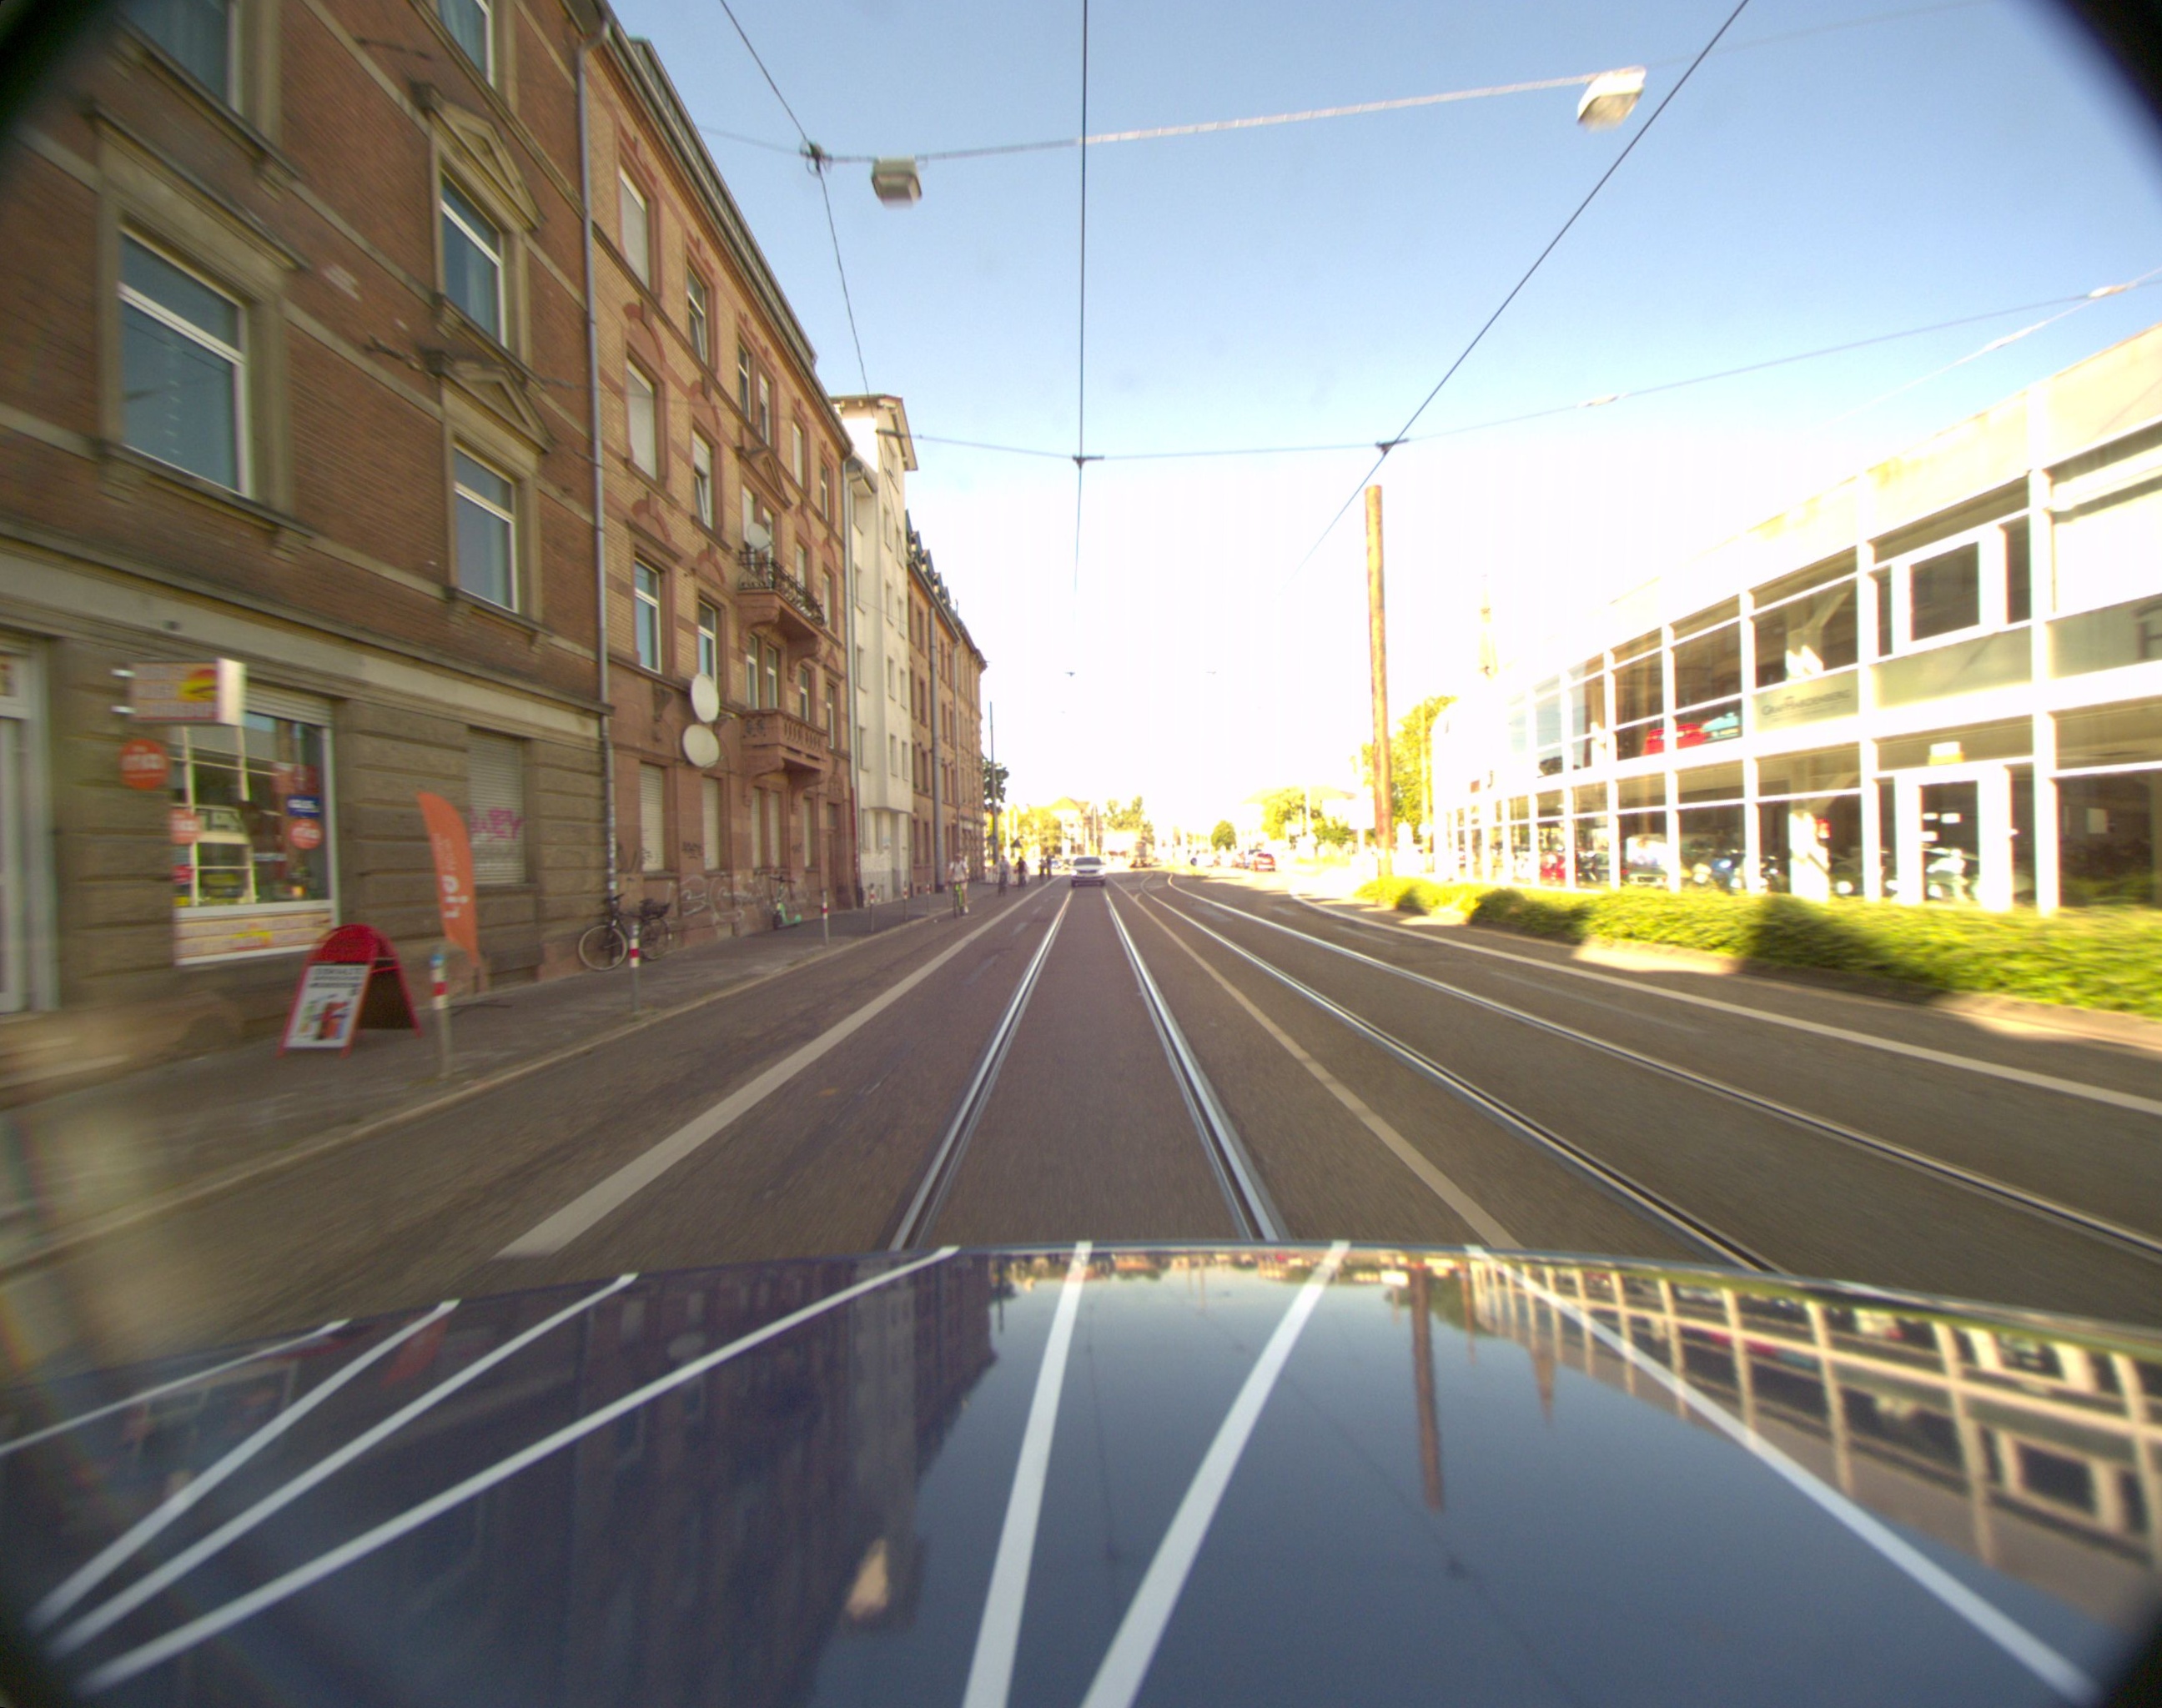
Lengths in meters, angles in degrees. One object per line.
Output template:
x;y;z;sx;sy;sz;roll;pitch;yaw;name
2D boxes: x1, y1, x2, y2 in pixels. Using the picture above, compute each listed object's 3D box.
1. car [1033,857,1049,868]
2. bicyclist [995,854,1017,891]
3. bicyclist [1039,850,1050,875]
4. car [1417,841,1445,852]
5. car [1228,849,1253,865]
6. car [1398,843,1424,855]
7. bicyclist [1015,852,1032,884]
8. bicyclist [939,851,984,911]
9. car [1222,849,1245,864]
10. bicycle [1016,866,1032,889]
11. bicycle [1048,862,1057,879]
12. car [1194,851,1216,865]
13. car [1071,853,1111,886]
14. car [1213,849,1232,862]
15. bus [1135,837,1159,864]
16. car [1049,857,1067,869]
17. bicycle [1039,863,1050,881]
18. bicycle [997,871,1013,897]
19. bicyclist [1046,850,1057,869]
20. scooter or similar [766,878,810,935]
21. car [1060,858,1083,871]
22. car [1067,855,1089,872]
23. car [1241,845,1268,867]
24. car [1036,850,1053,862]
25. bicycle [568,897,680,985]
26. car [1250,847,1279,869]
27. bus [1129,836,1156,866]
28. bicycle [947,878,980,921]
-6.702;1.415;127.531;1.888;1.557;4.008;-4;1;-12;car
-3.304;0.818;33.352;0.784;1.584;0.886;-2;0;2;bicyclist
-2.352;0.538;49.020;0.551;1.604;0.953;-4;1;0;bicyclist
51.751;-1.065;112.348;4.006;1.490;1.739;-2;0;-30;car
16.497;0.273;78.570;1.807;1.569;4.165;-2;1;2;car
56.218;-0.857;129.496;3.992;1.742;2.002;-4;1;20;car
-2.957;0.708;38.825;0.625;1.604;0.980;-4;1;-11;bicyclist
-3.511;0.778;22.392;0.681;1.674;1.121;-3;1;23;bicyclist
17.104;0.266;85.297;1.807;1.424;4.000;-4;1;2;car
-2.922;1.177;38.688;0.533;1.111;1.931;-3;1;-11;bicycle
-2.119;1.235;56.823;0.533;1.152;1.865;-3;0;-1;bicycle
14.022;0.452;86.279;1.807;1.424;4.540;-4;1;2;car
0.485;0.815;41.623;1.869;1.635;4.396;-2;0;-3;car
16.885;0.148;90.613;1.653;1.470;3.971;-1;0;2;car
9.780;-0.526;111.792;2.846;3.568;10.731;-3;0;8;bus
-3.395;1.340;112.652;1.888;1.557;4.008;-4;1;-12;car
-2.312;1.175;48.774;0.533;1.110;1.934;-4;-1;0;bicycle
-3.325;1.296;33.448;0.387;1.062;1.934;-2;0;3;bicycle
-2.201;0.395;56.752;0.675;1.413;1.036;-4;1;-1;bicyclist
-6.817;1.192;17.746;0.407;1.204;1.480;-1;1;1;scooter or similar
-1.245;1.349;97.140;1.888;1.557;4.007;-4;1;-16;car
-0.321;1.004;82.523;1.887;1.620;4.010;-4;1;-7;car
16.355;0.146;71.692;1.807;1.922;4.165;-2;1;3;car
-9.099;0.555;188.289;2.246;2.665;5.296;-4;1;-23;car
-6.931;1.280;11.642;0.410;1.115;1.898;-1;1;5;bicycle
15.585;0.301;64.624;1.803;1.709;4.418;-1;1;6;car
8.244;-0.437;100.928;2.846;3.568;11.277;-3;0;8;bus
-3.431;1.299;22.310;0.533;1.111;1.934;-4;0;1;bicycle
